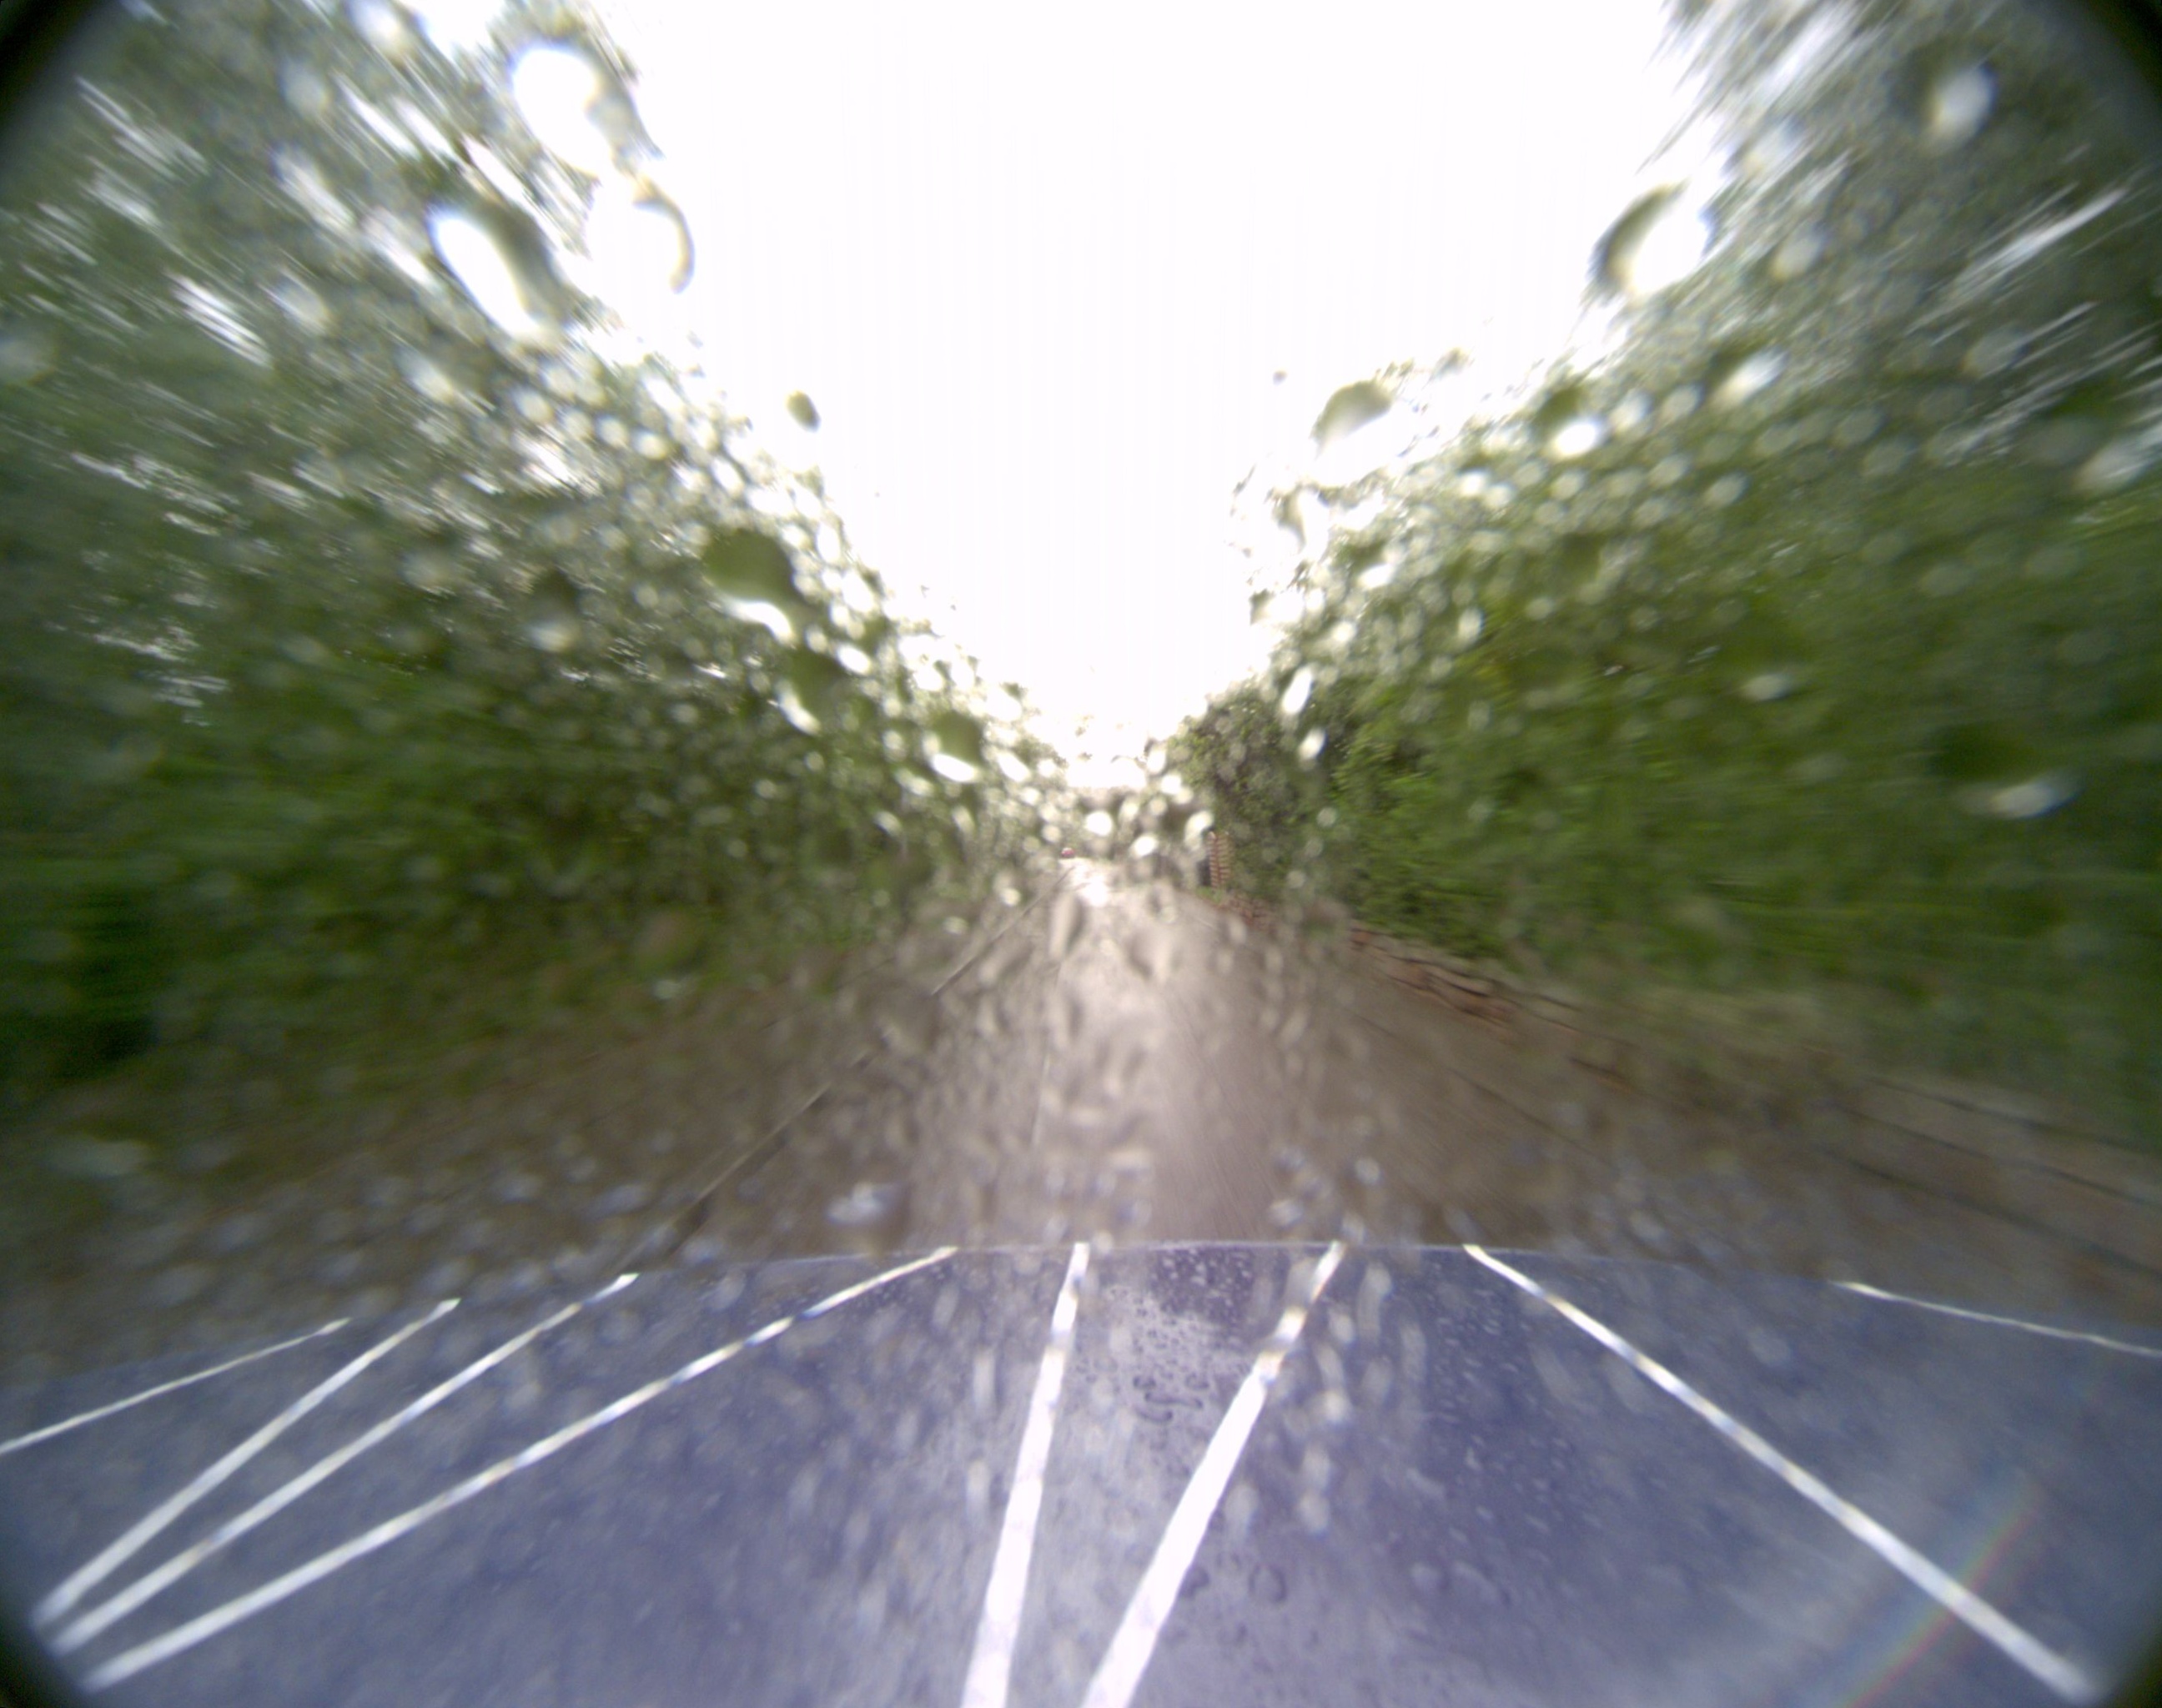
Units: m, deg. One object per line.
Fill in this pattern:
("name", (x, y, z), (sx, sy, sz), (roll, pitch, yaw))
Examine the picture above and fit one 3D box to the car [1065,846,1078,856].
("car", (-1.577, -0.492, 121.107), (1.894, 1.514, 4.419), (-1, 1, -3))
